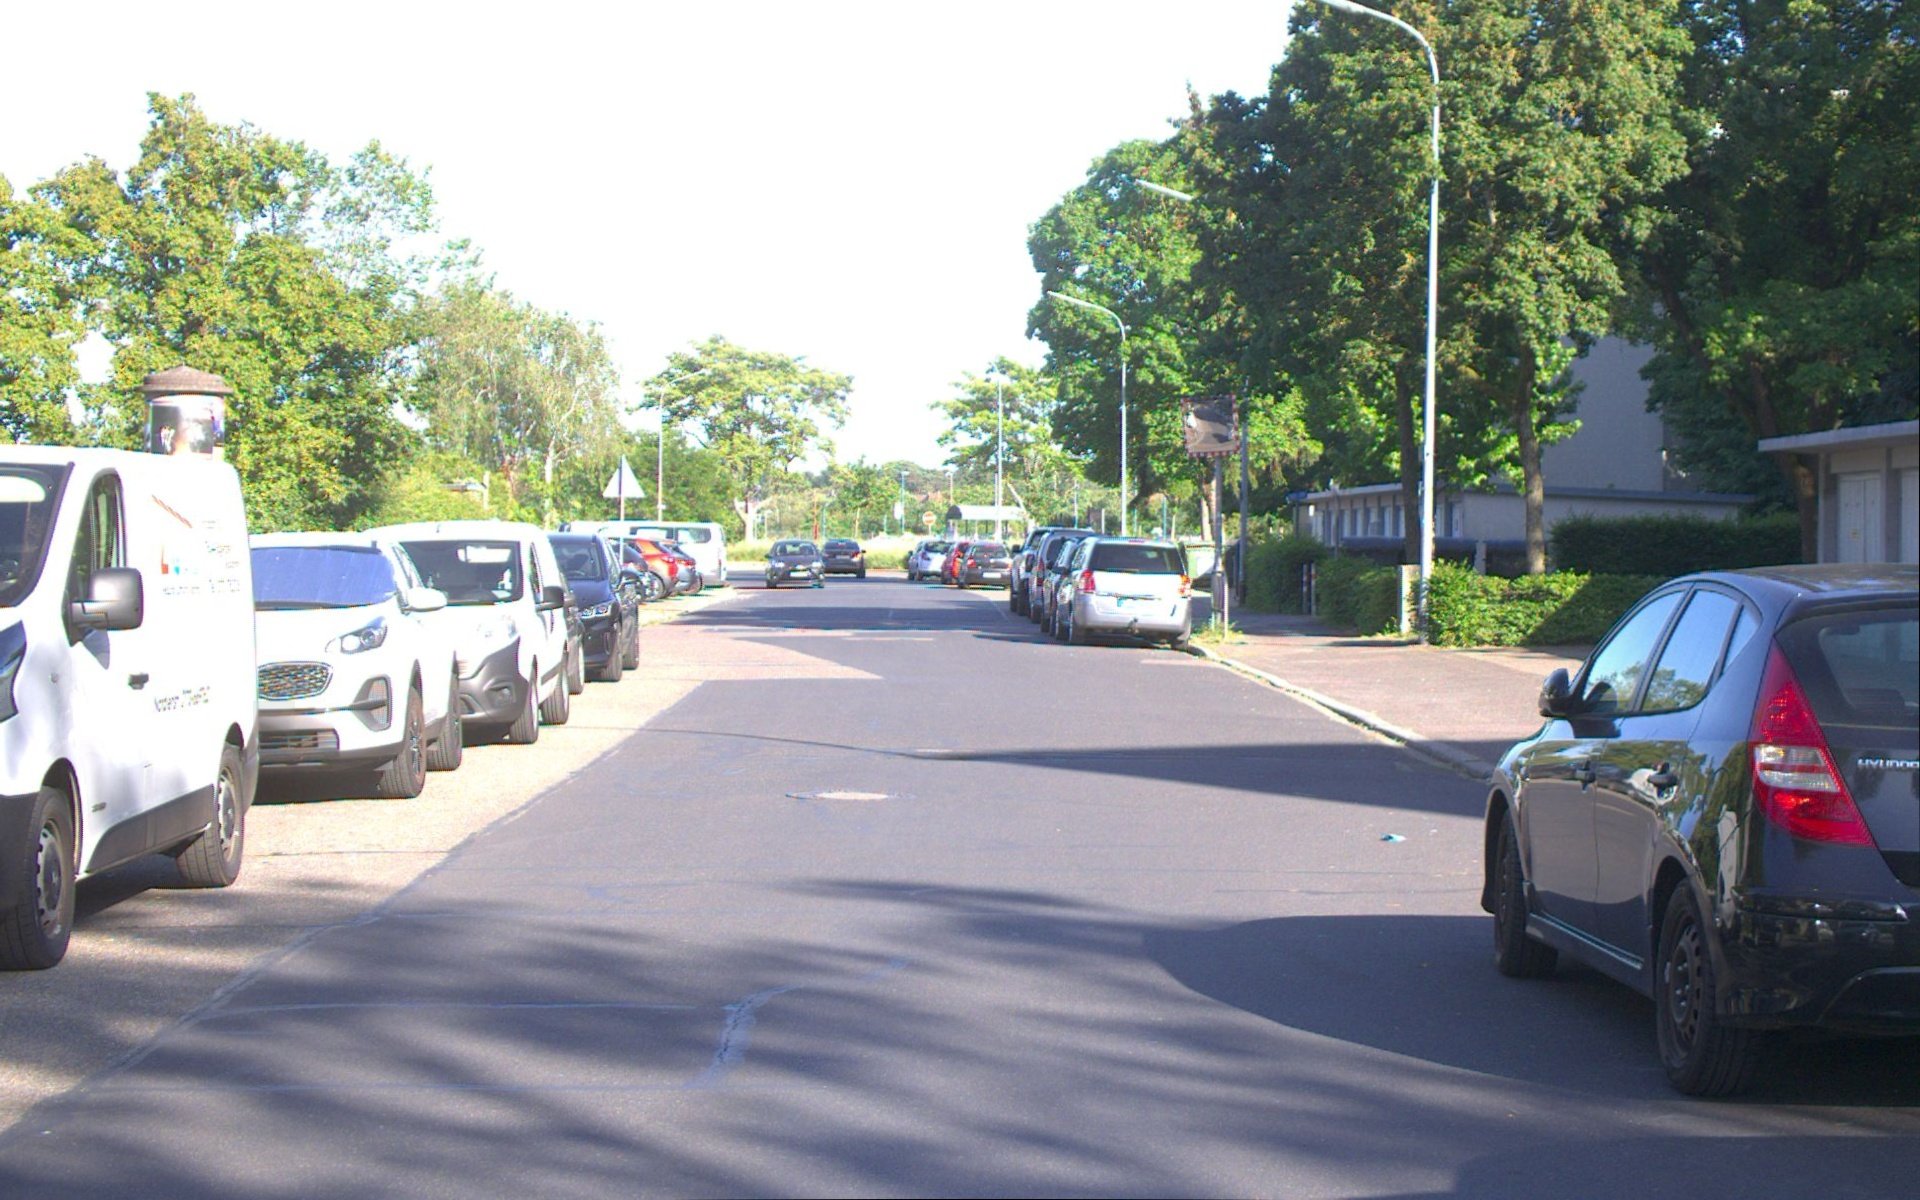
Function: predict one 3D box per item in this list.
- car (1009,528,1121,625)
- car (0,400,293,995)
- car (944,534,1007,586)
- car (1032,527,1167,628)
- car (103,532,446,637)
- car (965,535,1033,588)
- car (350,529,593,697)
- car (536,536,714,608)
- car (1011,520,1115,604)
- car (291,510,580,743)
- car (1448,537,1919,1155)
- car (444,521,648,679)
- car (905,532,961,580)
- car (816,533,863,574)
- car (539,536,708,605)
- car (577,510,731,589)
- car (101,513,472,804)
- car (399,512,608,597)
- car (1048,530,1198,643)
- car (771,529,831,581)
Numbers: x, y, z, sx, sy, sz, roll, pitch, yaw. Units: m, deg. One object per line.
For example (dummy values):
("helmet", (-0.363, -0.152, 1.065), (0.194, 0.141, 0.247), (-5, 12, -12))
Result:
("car", (2.008, -0.487, 66.826), (1.795, 1.780, 3.952), (2, 1, -3))
("car", (-4.122, 0.280, 13.823), (1.915, 1.956, 5.088), (0, 1, 0))
("car", (0.500, -1.340, 113.506), (1.795, 1.638, 3.952), (2, 1, -3))
("car", (2.245, -0.391, 56.202), (1.795, 1.556, 3.952), (2, 1, -3))
("car", (-9.687, -0.226, 48.711), (4.388, 1.431, 1.843), (0, 1, 10))
("car", (1.175, -1.205, 106.100), (1.795, 1.543, 3.952), (2, 1, -3))
("car", (-4.561, 0.076, 32.614), (1.746, 1.473, 4.153), (0, 1, -1))
("car", (-7.832, -0.659, 80.377), (4.053, 1.556, 1.802), (2, 1, -5))
("car", (2.107, -0.806, 71.406), (1.795, 1.638, 3.952), (2, 1, -3))
("car", (-4.141, 0.160, 27.693), (1.746, 1.726, 4.006), (0, 1, -1))
("car", (2.829, 0.591, 10.710), (1.908, 1.525, 4.328), (1, 1, -1))
("car", (-4.452, -0.040, 37.538), (1.746, 1.607, 4.308), (0, 1, -1))
("car", (-0.977, -1.605, 123.558), (1.795, 1.638, 3.952), (2, 1, -3))
("car", (-4.649, -1.798, 132.237), (1.679, 1.508, 4.105), (2, 1, -3))
("car", (-8.262, -0.723, 84.421), (4.053, 1.556, 1.802), (2, 1, -5))
("car", (-8.258, -1.366, 92.841), (4.053, 1.985, 1.802), (2, 1, -5))
("car", (-4.188, 0.296, 21.995), (1.746, 1.664, 4.379), (0, 1, -3))
("car", (-9.121, -0.913, 68.894), (4.053, 1.556, 1.802), (2, 1, -5))
("car", (2.378, -0.232, 50.961), (1.795, 1.556, 3.952), (2, 1, -3))
("car", (-4.997, -1.418, 107.476), (1.795, 1.556, 3.952), (2, 1, -3))
